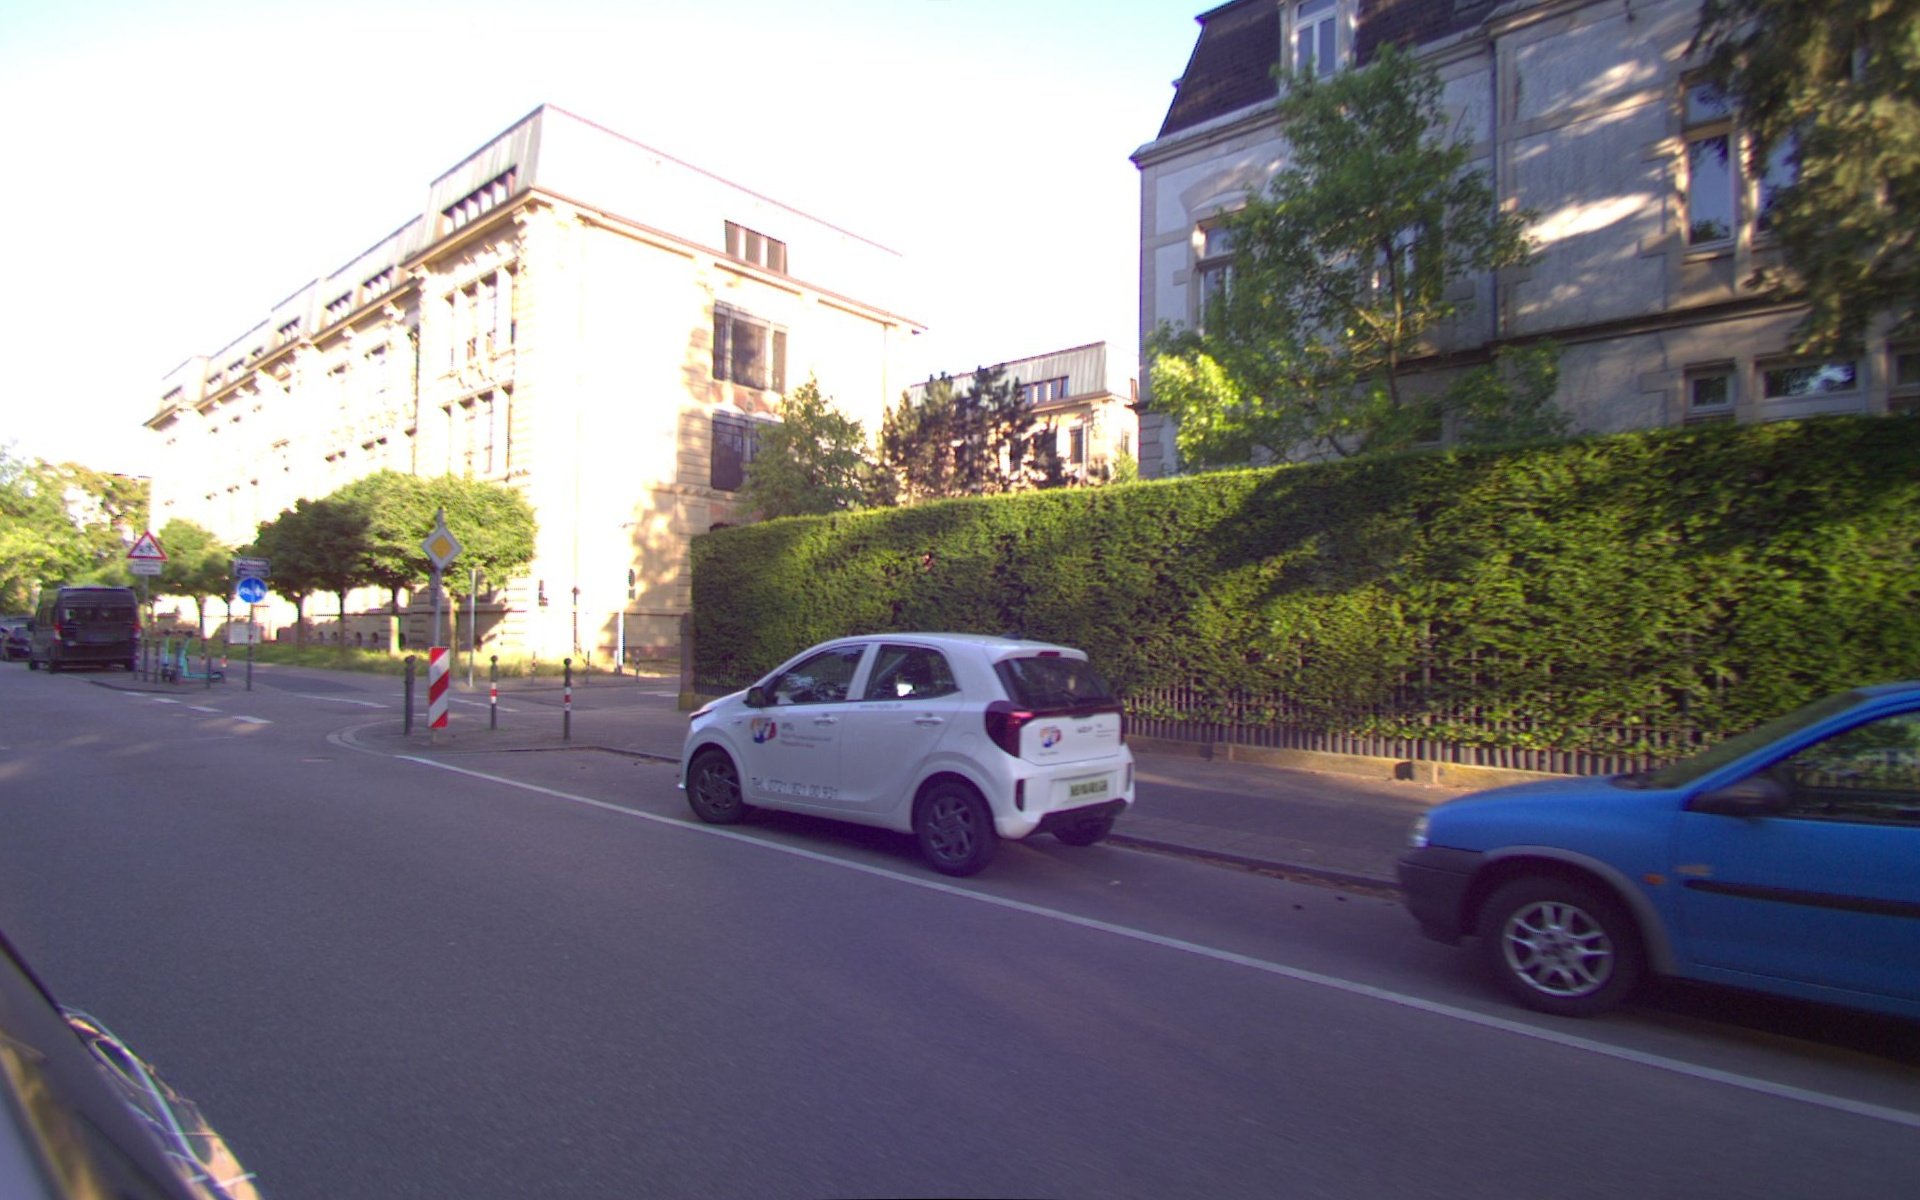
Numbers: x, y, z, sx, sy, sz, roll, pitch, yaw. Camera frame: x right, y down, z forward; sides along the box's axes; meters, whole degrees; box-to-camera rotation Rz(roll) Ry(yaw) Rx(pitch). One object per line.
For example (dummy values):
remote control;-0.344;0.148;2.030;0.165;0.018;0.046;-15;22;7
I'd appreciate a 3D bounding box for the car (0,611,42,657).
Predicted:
car;-41.304;1.471;43.890;4.331;1.880;1.759;-1;-1;42

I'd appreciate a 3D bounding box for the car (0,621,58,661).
car;-36.880;1.575;39.856;3.854;1.481;1.678;-1;0;43

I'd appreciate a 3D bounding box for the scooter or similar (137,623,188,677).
scooter or similar;-19.308;1.197;24.522;0.425;1.284;1.347;1;-2;-14

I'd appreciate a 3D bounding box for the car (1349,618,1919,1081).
car;3.667;0.859;3.897;3.740;1.496;1.597;-1;-4;41

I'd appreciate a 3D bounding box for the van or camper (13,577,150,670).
van or camper;-27.220;0.694;31.247;7.076;2.564;2.206;-1;-1;41

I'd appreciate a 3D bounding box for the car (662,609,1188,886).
car;-0.393;0.886;7.430;3.708;1.527;1.597;-1;-4;40

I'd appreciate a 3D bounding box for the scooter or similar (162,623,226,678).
scooter or similar;-18.669;1.217;24.697;0.426;1.284;1.341;0;-2;6

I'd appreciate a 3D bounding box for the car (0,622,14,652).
car;-49.251;1.841;51.134;4.376;1.507;1.700;-1;-2;42

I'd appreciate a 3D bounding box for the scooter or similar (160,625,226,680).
scooter or similar;-18.260;1.238;24.119;0.426;1.284;1.341;0;-2;6
